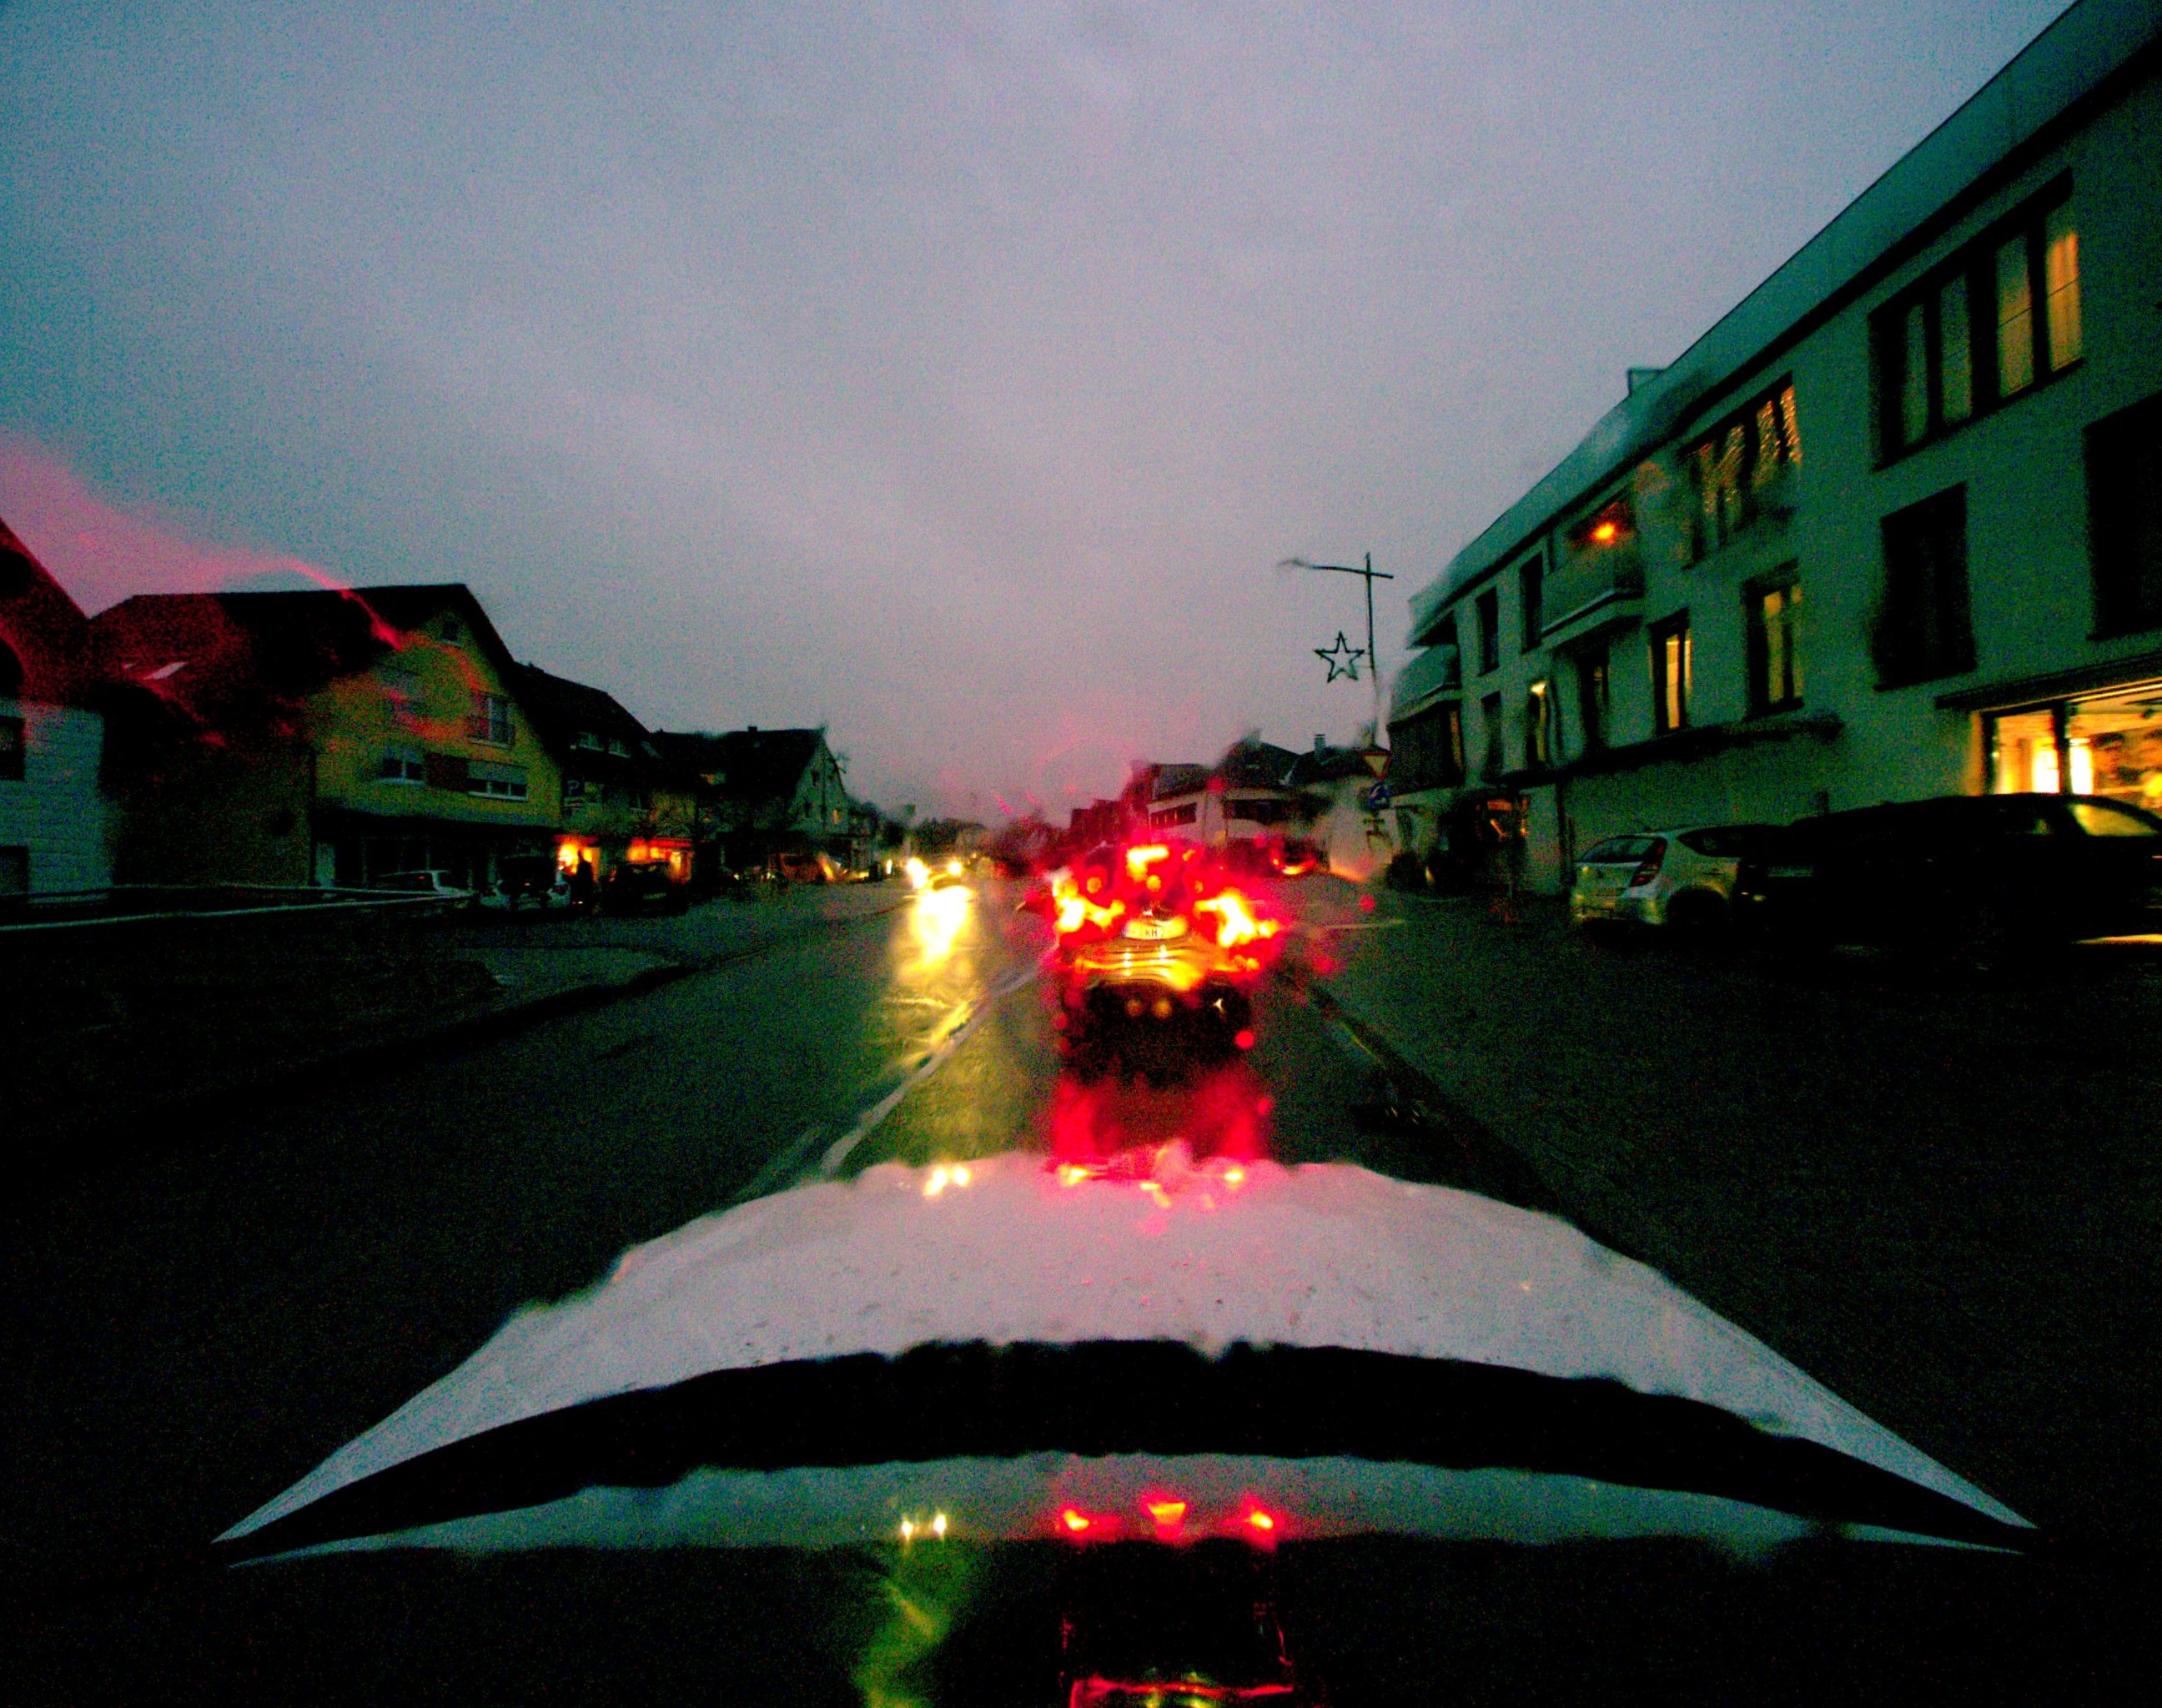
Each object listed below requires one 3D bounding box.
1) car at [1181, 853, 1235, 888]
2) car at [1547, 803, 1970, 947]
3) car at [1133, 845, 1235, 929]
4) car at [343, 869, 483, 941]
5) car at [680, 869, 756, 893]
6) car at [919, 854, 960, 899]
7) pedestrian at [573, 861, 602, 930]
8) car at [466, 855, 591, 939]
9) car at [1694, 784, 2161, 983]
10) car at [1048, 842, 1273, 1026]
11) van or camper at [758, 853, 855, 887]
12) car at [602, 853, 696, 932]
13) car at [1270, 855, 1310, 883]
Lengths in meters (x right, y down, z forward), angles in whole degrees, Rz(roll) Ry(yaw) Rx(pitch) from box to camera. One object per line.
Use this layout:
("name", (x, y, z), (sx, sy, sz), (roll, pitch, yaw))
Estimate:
("car", (5.729, 0.707, 36.287), (1.979, 1.391, 4.015), (-2, 0, 14))
("car", (8.813, 0.255, 10.820), (4.197, 1.460, 1.790), (-4, -1, -4))
("car", (1.922, 0.575, 16.204), (1.676, 1.453, 4.002), (0, 0, 2))
("car", (-17.258, 1.232, 21.268), (1.830, 1.613, 4.023), (-1, 0, -25))
("car", (-23.157, 1.688, 52.059), (3.976, 1.365, 1.726), (-2, 0, -2))
("car", (-7.467, 1.156, 43.024), (1.994, 2.204, 4.402), (1, -1, -10))
("pedestrian", (-12.619, 1.054, 20.833), (0.498, 1.701, 0.707), (-3, 0, -25))
("car", (-14.353, 1.029, 21.407), (2.047, 1.925, 4.023), (-1, 0, -25))
("car", (8.547, 0.190, 7.702), (4.197, 1.460, 1.790), (-4, -1, -4))
("car", (0.783, 0.695, 9.237), (1.956, 1.594, 4.316), (0, 0, 2))
("van or camper", (-17.043, 0.969, 50.589), (5.489, 1.954, 2.008), (-2, 0, 15))
("car", (-11.748, 0.975, 22.401), (2.047, 1.925, 4.023), (-1, 0, -25))
("car", (11.587, 0.842, 45.350), (1.980, 1.418, 4.014), (-3, -2, 13))
